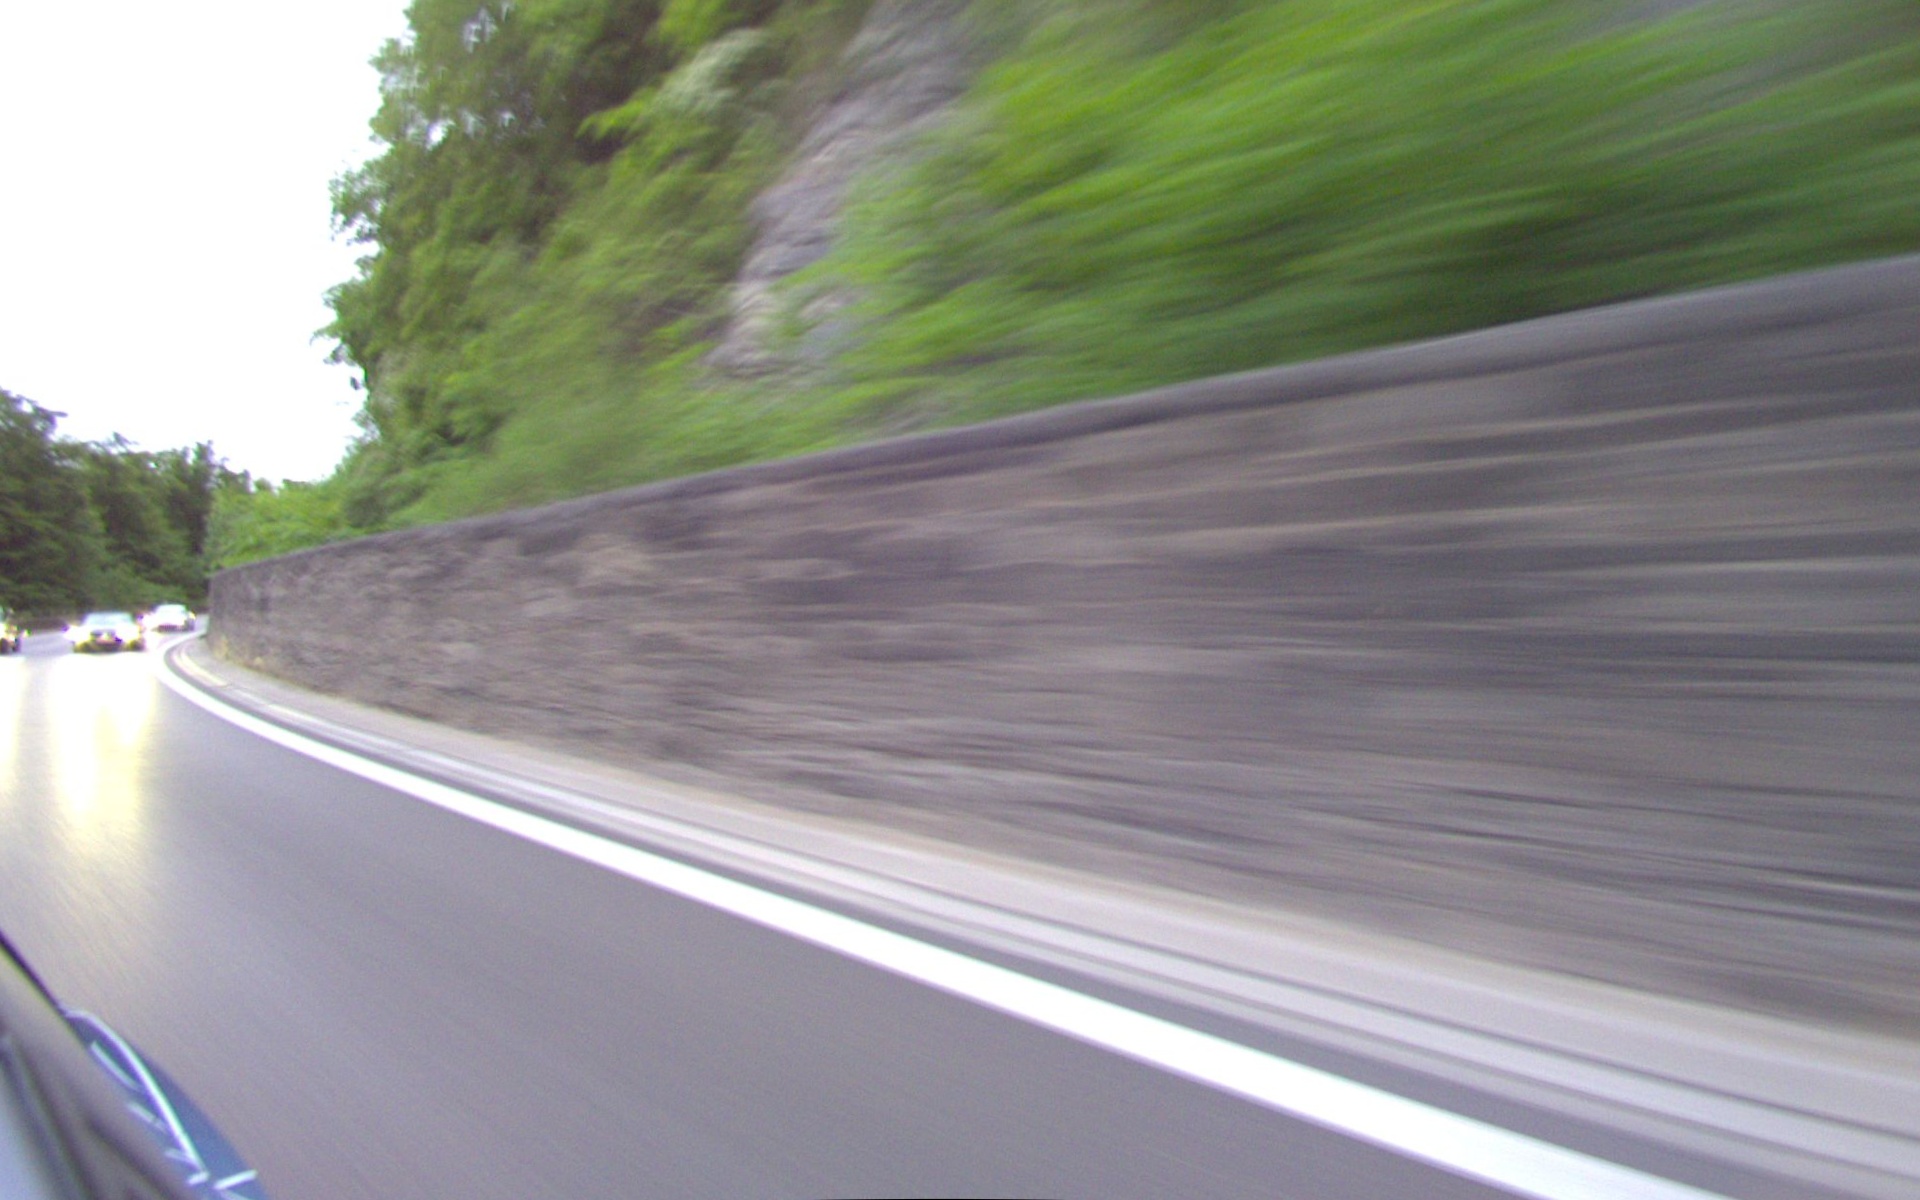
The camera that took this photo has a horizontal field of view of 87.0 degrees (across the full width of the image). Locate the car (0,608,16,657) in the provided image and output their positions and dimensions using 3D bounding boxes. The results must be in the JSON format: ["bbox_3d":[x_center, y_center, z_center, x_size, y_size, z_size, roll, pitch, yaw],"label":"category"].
[{"bbox_3d":[-34.447,1.151,35.269,1.969,1.652,4.007,-2,1,-40],"label":"car"}]

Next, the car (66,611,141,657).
[{"bbox_3d":[-31.004,1.198,36.676,1.968,1.519,4.007,2,-1,-40],"label":"car"}]

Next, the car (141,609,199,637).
[{"bbox_3d":[-46.082,1.310,59.115,1.966,1.519,4.013,-2,1,-29],"label":"car"}]
